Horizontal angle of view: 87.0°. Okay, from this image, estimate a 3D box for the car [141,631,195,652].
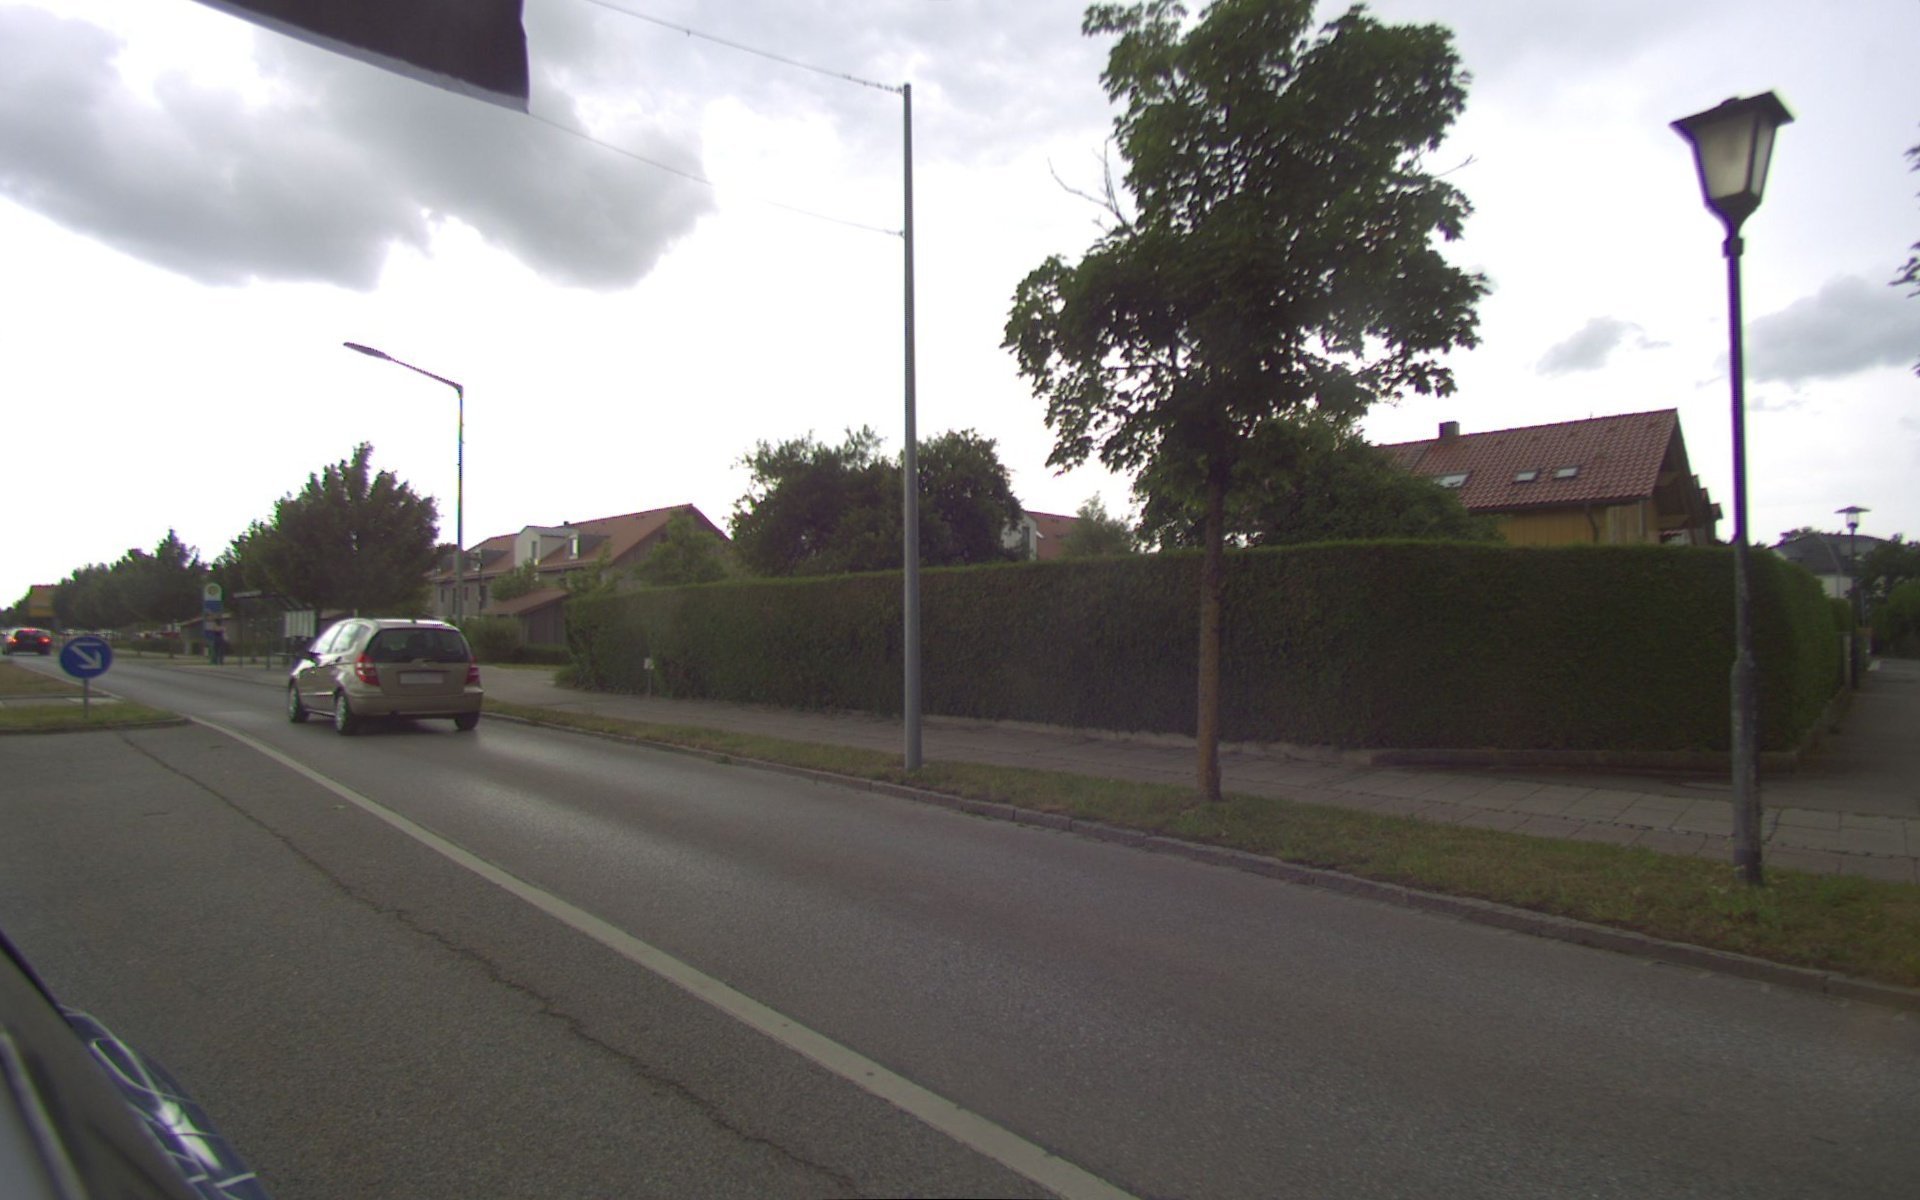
[{"bbox_3d":[-87.404,4.543,111.684,4.504,2.029,2.002,-1,0,-43],"label":"car"}]

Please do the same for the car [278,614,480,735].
[{"bbox_3d":[-8.518,1.028,14.733,1.687,1.544,3.510,4,-4,-44],"label":"car"}]

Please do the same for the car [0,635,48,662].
[{"bbox_3d":[-52.513,2.680,56.551,4.496,1.465,1.899,-2,-3,43],"label":"car"}]

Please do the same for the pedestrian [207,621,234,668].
[{"bbox_3d":[-26.303,1.587,35.991,0.812,1.649,0.582,-2,-2,42],"label":"pedestrian"}]
